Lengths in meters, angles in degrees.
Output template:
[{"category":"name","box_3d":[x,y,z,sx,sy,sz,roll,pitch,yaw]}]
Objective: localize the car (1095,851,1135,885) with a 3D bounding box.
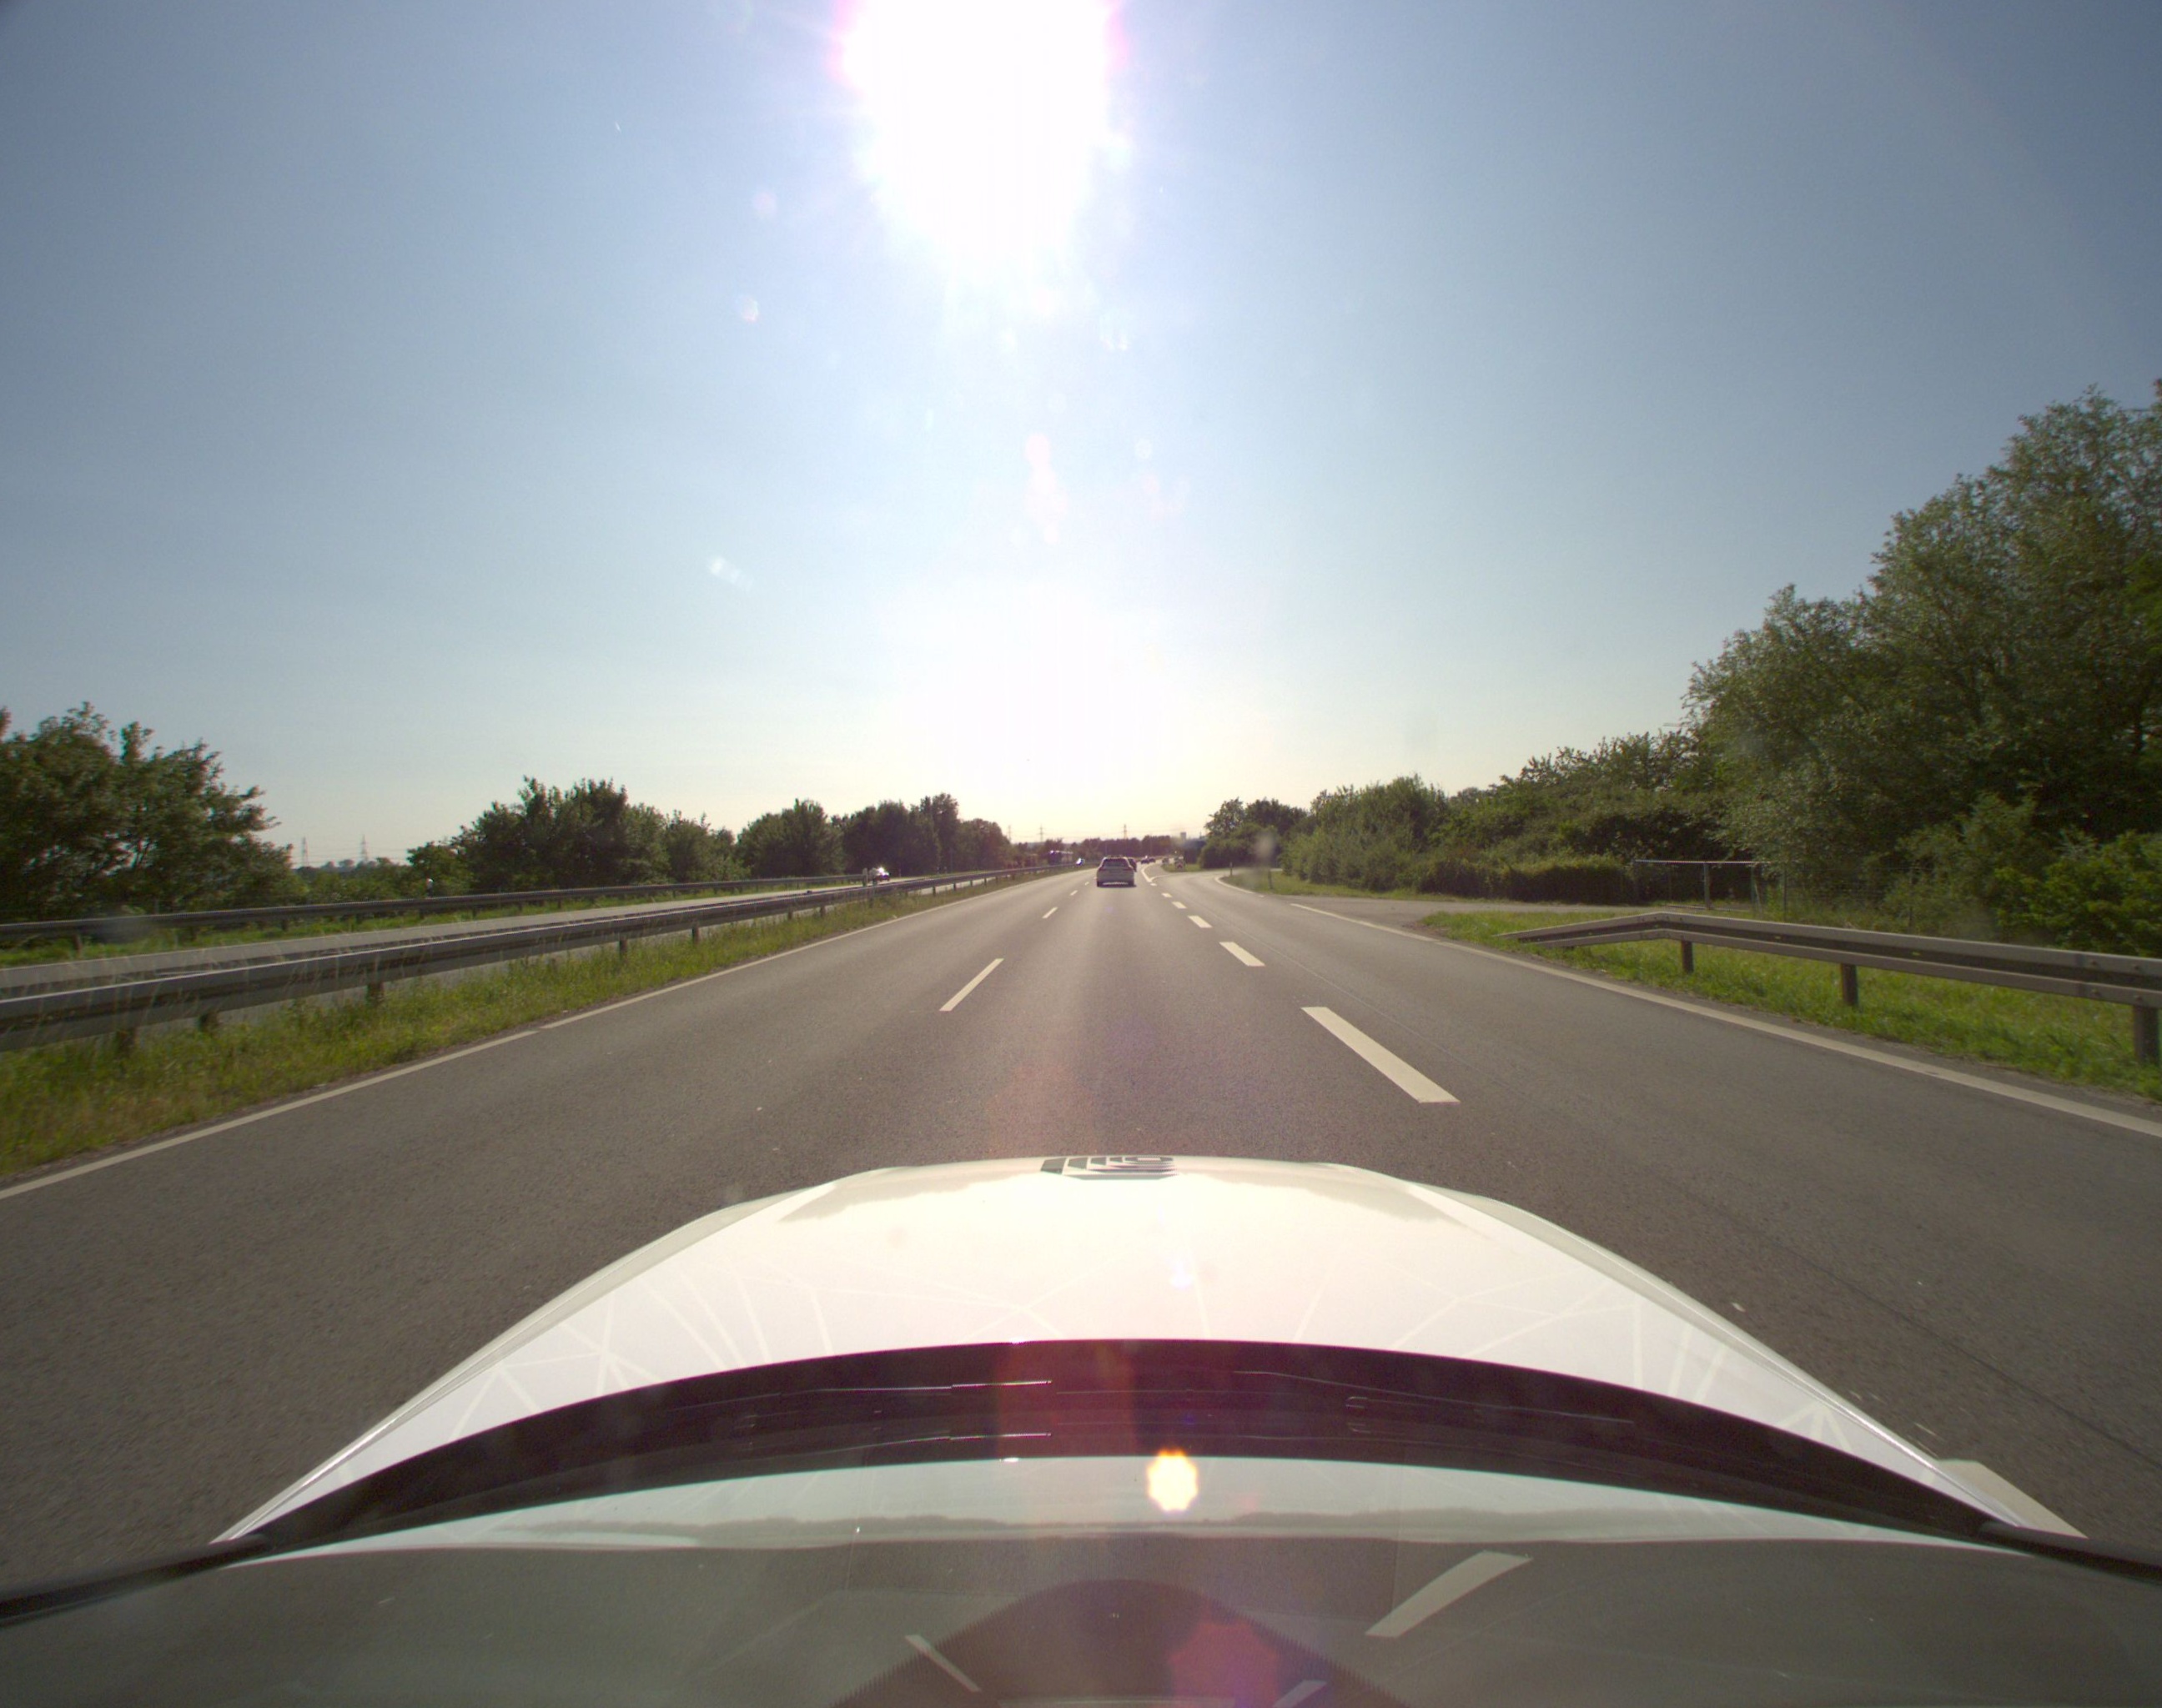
[{"category":"car","box_3d":[1.743,0.693,41.418,1.950,1.601,4.110,0,1,3]}]

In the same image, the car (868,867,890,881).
[{"category":"car","box_3d":[-22.780,2.201,91.693,1.793,1.445,3.968,-2,0,-23]}]

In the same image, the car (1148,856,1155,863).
[{"category":"car","box_3d":[19.153,1.511,222.142,1.833,1.698,4.003,-1,0,3]}]

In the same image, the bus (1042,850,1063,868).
[{"category":"bus","box_3d":[-5.137,0.947,148.279,2.714,3.110,9.844,-2,0,3]}]

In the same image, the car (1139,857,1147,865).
[{"category":"car","box_3d":[14.815,1.620,193.438,1.832,1.802,4.006,-1,0,6]}]

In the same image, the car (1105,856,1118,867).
[{"category":"car","box_3d":[4.339,1.055,115.178,1.785,1.503,4.047,-1,0,3]}]

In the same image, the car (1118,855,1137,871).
[{"category":"car","box_3d":[4.638,0.872,81.787,1.786,1.543,3.674,-1,0,2]}]
